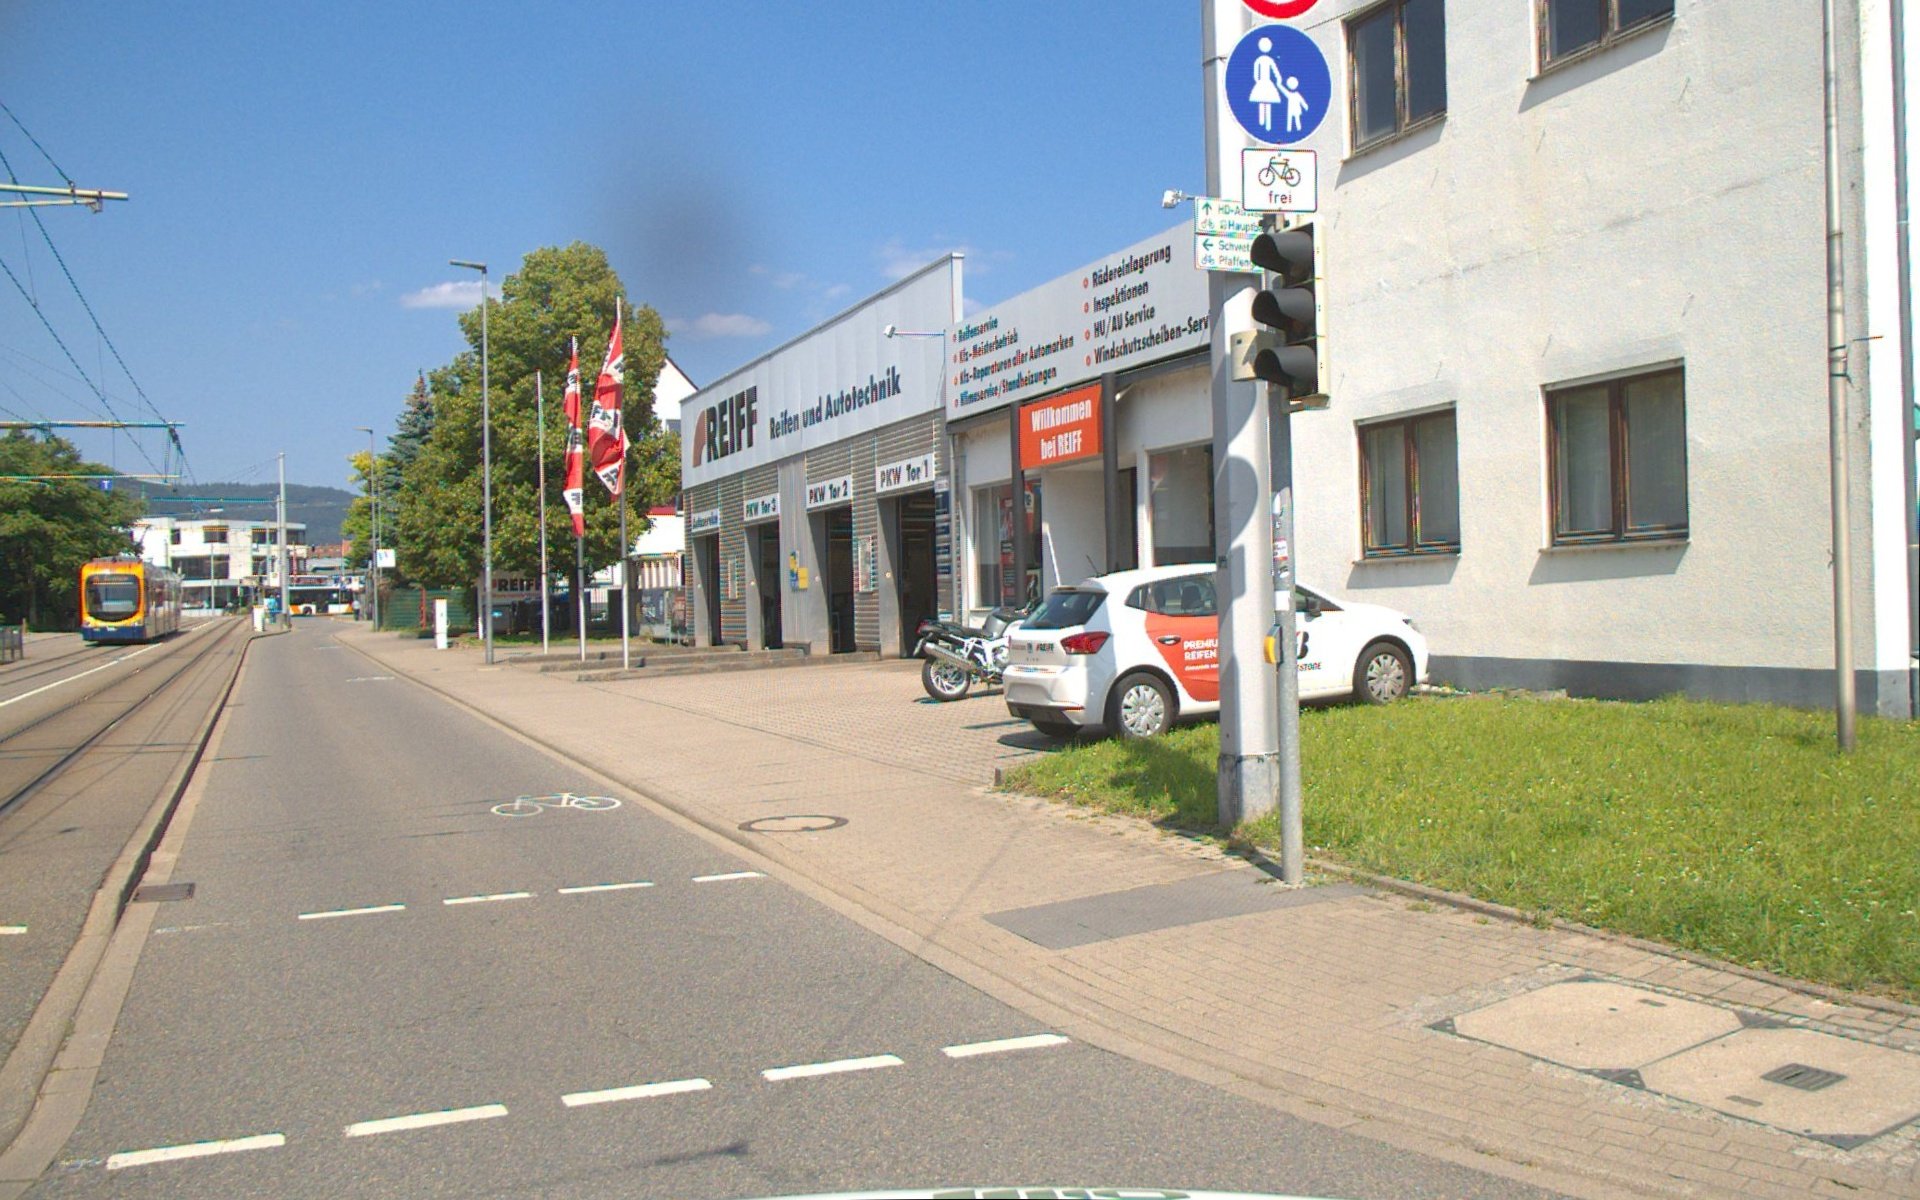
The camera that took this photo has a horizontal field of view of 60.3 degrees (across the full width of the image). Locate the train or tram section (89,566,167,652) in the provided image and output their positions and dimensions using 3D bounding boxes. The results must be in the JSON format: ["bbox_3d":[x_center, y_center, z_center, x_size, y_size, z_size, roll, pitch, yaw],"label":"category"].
[{"bbox_3d":[-36.322,0.391,72.356,2.576,3.507,5.801,-2,1,-23],"label":"train or tram section"}]

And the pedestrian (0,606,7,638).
[{"bbox_3d":[-47.766,1.116,81.888,0.823,1.564,0.832,-2,1,-23],"label":"pedestrian"}]

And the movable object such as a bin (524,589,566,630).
[{"bbox_3d":[-15.488,0.365,61.767,1.289,1.455,0.885,-2,-2,2],"label":"movable object such as a bin"}]

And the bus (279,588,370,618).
[{"bbox_3d":[-64.804,0.279,168.792,2.394,2.930,8.761,-1,0,35],"label":"bus"}]

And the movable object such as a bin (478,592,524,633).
[{"bbox_3d":[-17.101,0.471,61.647,1.355,1.455,0.991,-2,-2,2],"label":"movable object such as a bin"}]

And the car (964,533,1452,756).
[{"bbox_3d":[2.247,0.335,14.987,3.938,1.487,1.875,-6,2,-25],"label":"car"}]

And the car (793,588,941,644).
[{"bbox_3d":[-2.562,0.423,45.734,3.719,1.400,1.709,-2,0,-28],"label":"car"}]

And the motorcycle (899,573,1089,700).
[{"bbox_3d":[0.425,0.434,20.396,2.156,1.331,0.725,-5,1,-25],"label":"motorcycle"}]

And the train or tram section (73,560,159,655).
[{"bbox_3d":[-34.105,0.297,66.995,2.576,3.594,5.701,-2,0,-23],"label":"train or tram section"}]

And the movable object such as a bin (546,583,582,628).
[{"bbox_3d":[-14.414,0.220,60.184,0.966,1.574,1.309,-1,-2,-26],"label":"movable object such as a bin"}]

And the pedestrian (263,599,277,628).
[{"bbox_3d":[-43.197,0.838,103.537,0.733,1.771,0.722,-2,1,-23],"label":"pedestrian"}]
